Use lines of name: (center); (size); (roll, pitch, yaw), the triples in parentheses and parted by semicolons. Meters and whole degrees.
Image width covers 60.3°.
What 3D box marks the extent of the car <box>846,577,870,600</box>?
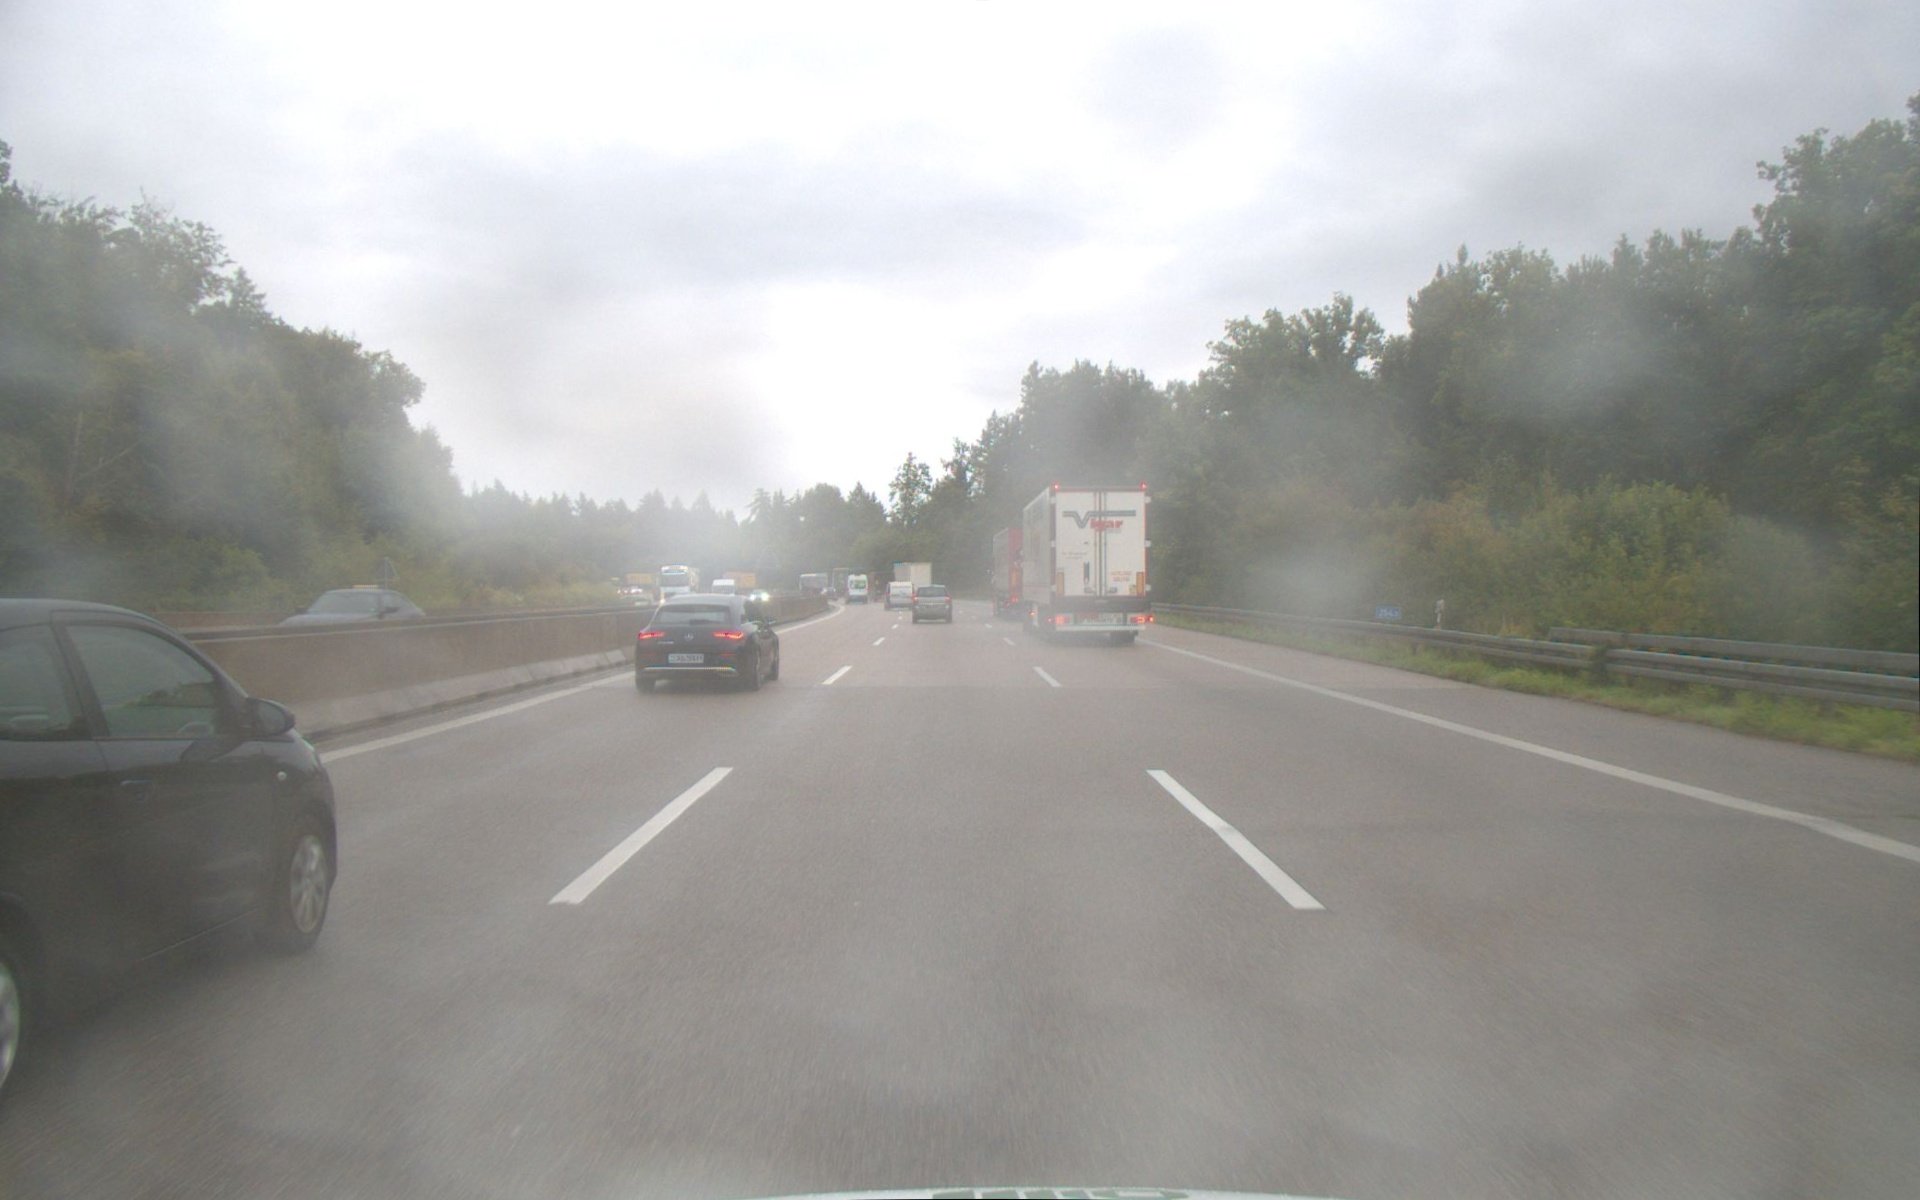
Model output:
car: (-9.789, -1.123, 158.485); (1.956, 2.095, 3.992); (-2, 1, -8)

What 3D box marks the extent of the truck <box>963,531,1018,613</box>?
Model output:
truck: (1.491, -1.389, 84.021); (2.327, 4.023, 6.156); (0, 0, -3)

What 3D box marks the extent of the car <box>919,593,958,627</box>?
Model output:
car: (-0.953, 0.417, 70.995); (1.523, 1.375, 3.681); (0, 1, -4)

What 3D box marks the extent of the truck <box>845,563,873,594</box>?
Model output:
truck: (-14.400, -3.109, 234.617); (3.305, 4.203, 10.422); (-1, 1, -7)

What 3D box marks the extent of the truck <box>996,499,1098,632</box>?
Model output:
truck: (2.856, -1.133, 56.036); (2.743, 4.175, 5.964); (-2, 1, -3)

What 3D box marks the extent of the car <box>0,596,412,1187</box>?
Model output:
car: (-3.332, 0.748, 6.042); (1.650, 1.488, 3.681); (0, 1, -4)

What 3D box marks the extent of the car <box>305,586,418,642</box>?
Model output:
car: (-19.619, 0.432, 54.468); (1.953, 1.729, 4.973); (-1, 0, -1)

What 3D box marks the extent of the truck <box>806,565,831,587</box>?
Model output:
truck: (-20.427, -3.509, 238.499); (3.026, 2.956, 7.886); (-1, 2, -10)

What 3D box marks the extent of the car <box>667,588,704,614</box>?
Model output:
car: (-17.212, 0.046, 103.765); (1.575, 1.581, 4.641); (-1, 0, -1)

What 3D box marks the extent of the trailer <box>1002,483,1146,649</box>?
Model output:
trailer: (3.121, -0.955, 49.424); (2.679, 4.175, 13.676); (-2, 1, -2)

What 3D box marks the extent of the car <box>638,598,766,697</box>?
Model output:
car: (-3.908, 0.679, 25.525); (1.522, 1.375, 3.682); (0, 1, -2)

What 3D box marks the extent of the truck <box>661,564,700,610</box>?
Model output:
truck: (-23.735, -1.135, 141.027); (2.514, 3.731, 10.479); (-1, 1, -6)

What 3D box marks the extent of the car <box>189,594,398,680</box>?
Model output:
car: (-12.139, 0.617, 30.502); (1.953, 1.414, 4.751); (0, 1, -1)

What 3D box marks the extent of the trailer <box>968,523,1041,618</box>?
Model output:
trailer: (1.928, -1.315, 76.174); (2.323, 4.023, 12.512); (0, 1, -3)

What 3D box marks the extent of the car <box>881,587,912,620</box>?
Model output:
car: (-4.247, 0.202, 109.606); (1.692, 2.048, 3.651); (-2, 1, -7)

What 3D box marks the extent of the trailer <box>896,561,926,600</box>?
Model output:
trailer: (-5.488, -2.231, 183.735); (2.373, 4.139, 12.040); (-1, 1, -6)
